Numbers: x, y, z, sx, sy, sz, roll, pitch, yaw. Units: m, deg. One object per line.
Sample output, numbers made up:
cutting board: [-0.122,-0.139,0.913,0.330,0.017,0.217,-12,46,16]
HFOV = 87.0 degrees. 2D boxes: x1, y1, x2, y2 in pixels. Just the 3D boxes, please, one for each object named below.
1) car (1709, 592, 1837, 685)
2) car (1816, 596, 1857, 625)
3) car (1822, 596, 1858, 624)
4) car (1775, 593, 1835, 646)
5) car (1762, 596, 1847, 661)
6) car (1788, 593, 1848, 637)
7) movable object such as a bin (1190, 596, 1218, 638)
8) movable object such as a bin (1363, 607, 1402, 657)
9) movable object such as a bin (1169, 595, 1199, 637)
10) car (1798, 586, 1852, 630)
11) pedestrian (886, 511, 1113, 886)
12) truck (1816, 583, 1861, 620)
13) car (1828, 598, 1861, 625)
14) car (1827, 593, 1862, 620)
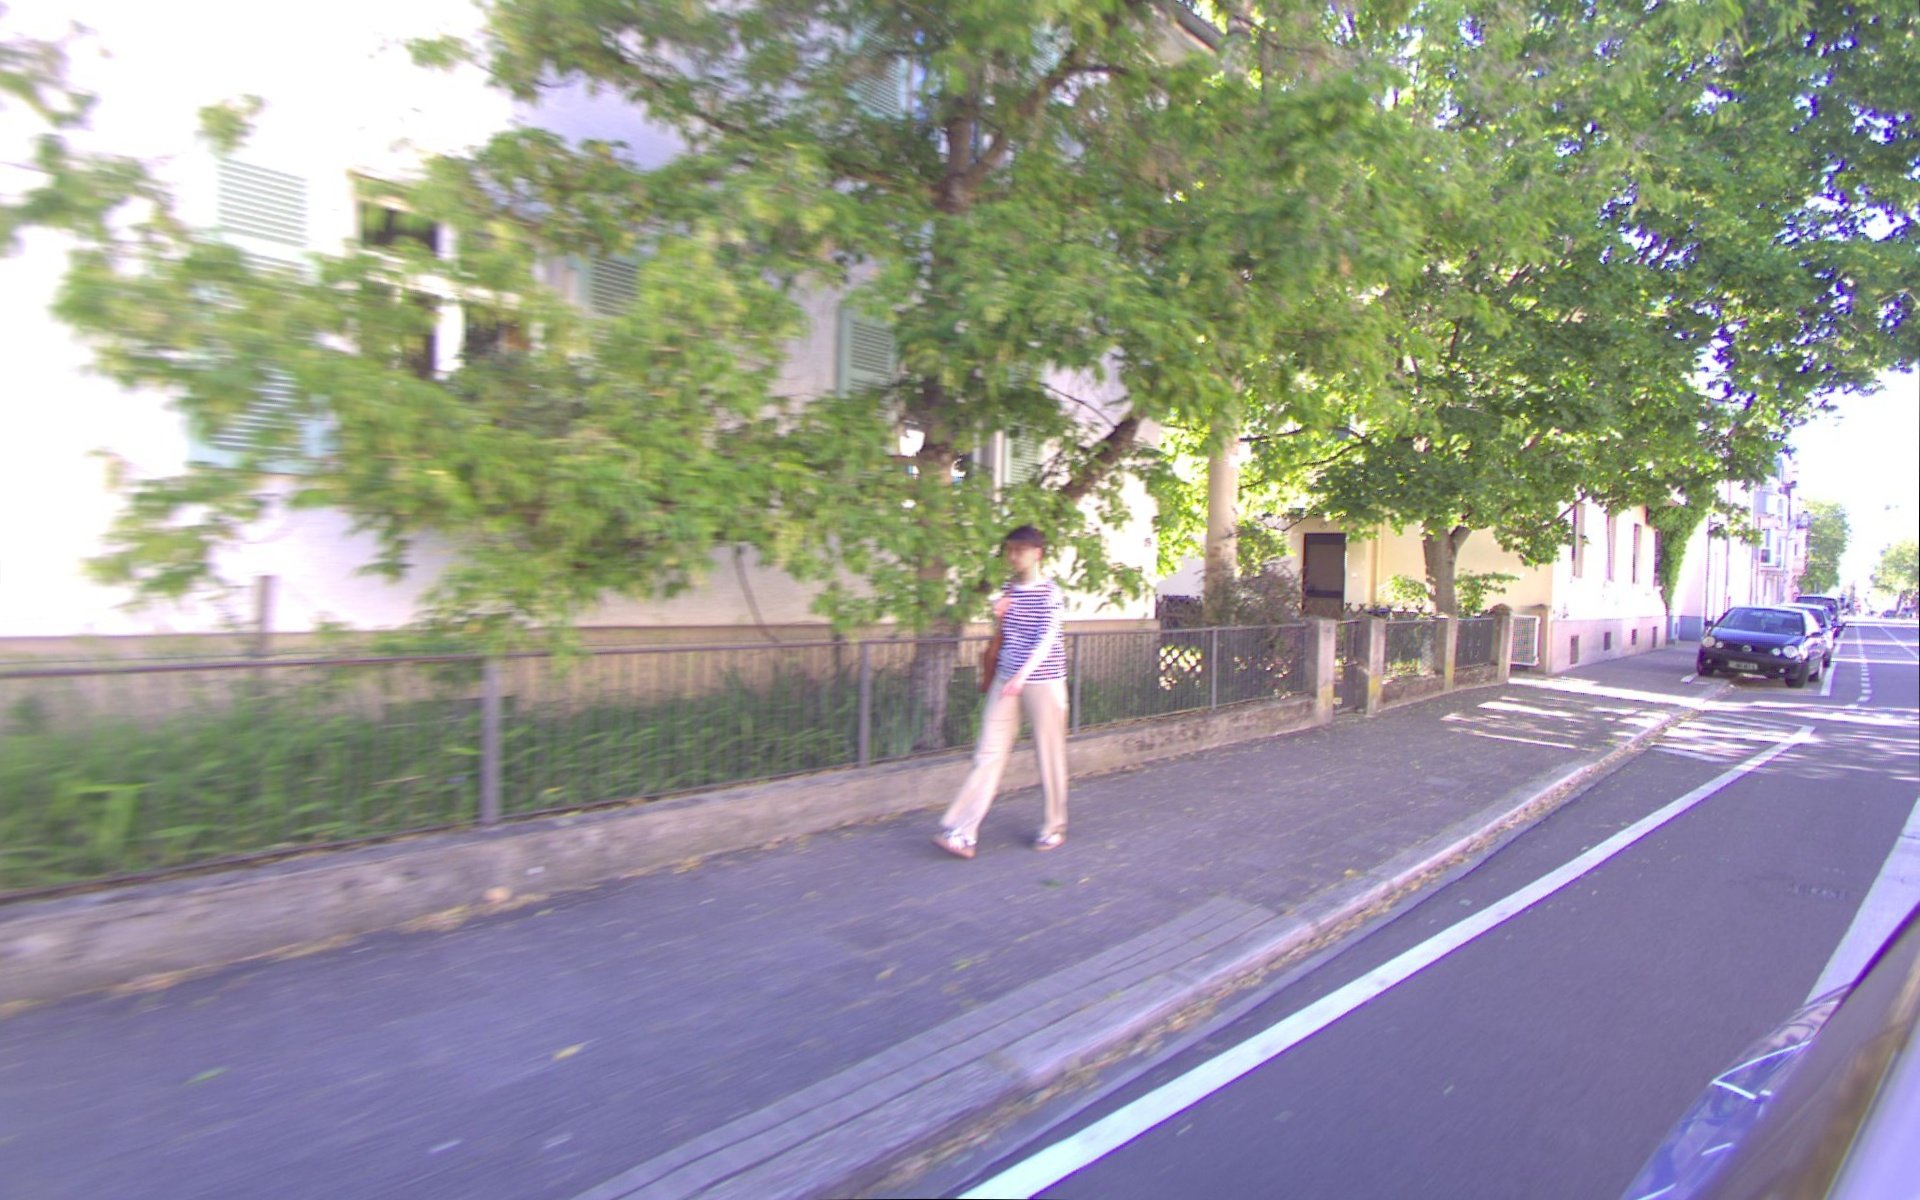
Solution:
car: [16.096,0.676,19.976,1.666,1.583,3.712,3,3,43]
car: [47.991,0.539,55.415,1.675,1.510,4.110,1,0,41]
car: [51.329,0.550,59.051,1.552,1.577,3.598,1,0,41]
car: [27.585,0.591,33.048,1.455,1.619,3.246,1,0,40]
car: [21.944,0.684,26.308,1.599,1.544,3.497,1,0,40]
car: [33.807,0.558,39.922,1.742,1.619,4.369,1,0,40]
movable object such as a bin: [5.637,0.386,23.400,0.430,0.943,0.448,1,2,-44]
movable object such as a bin: [8.516,0.637,20.401,0.490,0.959,0.529,1,2,-44]
movable object such as a bin: [5.270,0.375,23.800,0.430,0.943,0.516,1,2,-44]
car: [41.463,0.360,48.508,1.904,2.012,4.495,1,0,41]
pedestrian: [0.209,0.428,5.160,0.717,1.708,0.857,4,2,41]
truck: [64.798,0.081,74.582,2.295,2.508,6.052,3,2,42]
car: [54.347,0.685,62.211,1.495,1.577,3.314,1,0,41]
car: [60.931,0.418,69.705,1.738,1.768,4.190,1,0,42]
